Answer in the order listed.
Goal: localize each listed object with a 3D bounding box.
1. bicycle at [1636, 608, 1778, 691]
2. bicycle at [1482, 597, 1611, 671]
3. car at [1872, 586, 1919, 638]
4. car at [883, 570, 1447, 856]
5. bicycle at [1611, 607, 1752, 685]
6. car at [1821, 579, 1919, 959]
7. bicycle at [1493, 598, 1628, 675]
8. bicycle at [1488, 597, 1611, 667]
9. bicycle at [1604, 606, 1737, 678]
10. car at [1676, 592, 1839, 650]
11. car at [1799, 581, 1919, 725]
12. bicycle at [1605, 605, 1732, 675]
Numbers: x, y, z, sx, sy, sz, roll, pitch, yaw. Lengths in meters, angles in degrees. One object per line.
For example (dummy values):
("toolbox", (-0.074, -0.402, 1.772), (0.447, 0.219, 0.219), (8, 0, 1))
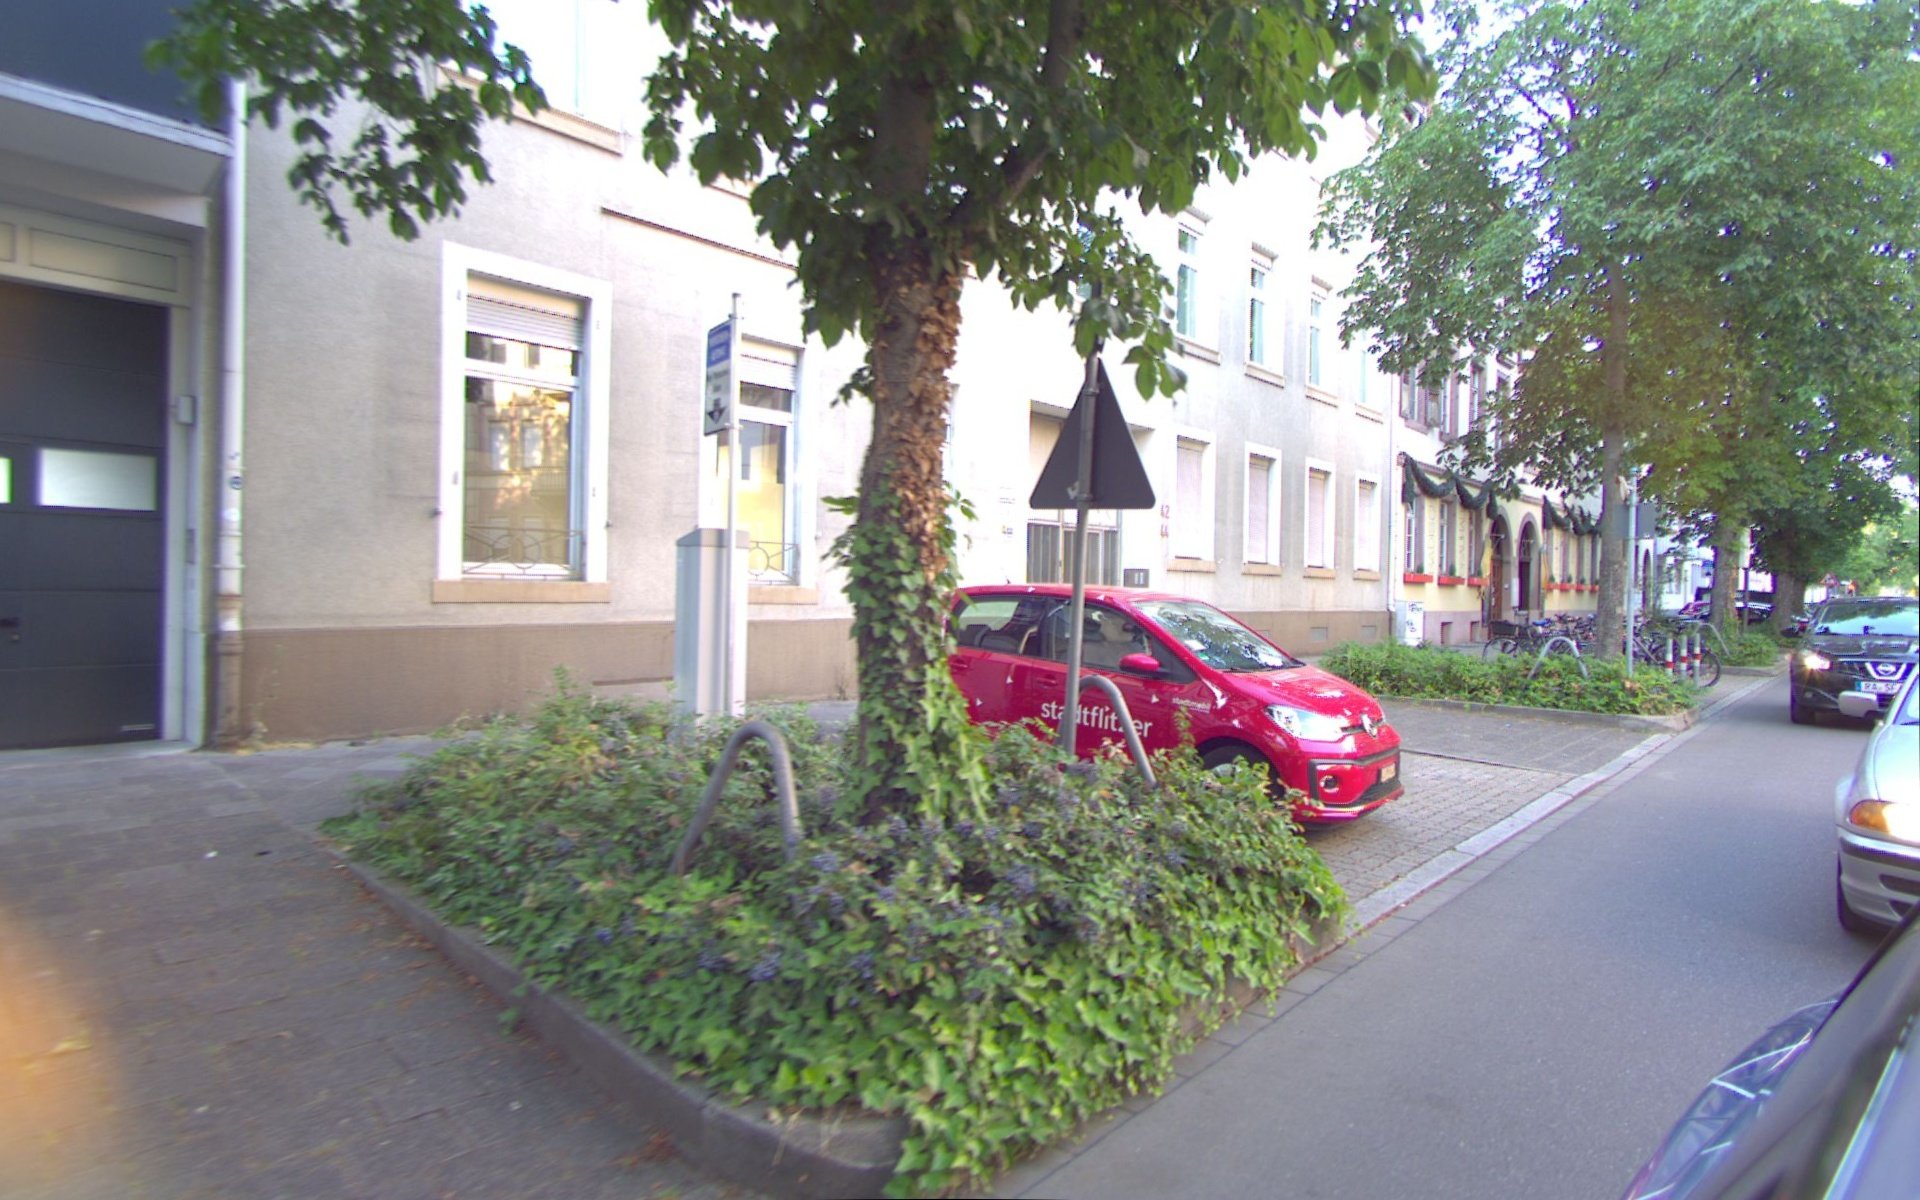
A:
("bicycle", (12.374, 0.791, 16.831), (1.835, 1.242, 0.529), (2, 1, 34))
("bicycle", (10.833, 0.605, 18.740), (2.015, 1.242, 0.529), (2, 1, 34))
("car", (30.347, 0.371, 32.253), (1.801, 1.571, 3.937), (2, 1, 43))
("car", (1.281, 0.559, 7.192), (3.609, 1.495, 1.639), (2, 1, 43))
("bicycle", (12.884, 0.790, 18.115), (2.019, 1.242, 0.528), (2, 1, 39))
("car", (5.713, 0.664, 4.877), (4.357, 1.460, 1.710), (0, 1, -41))
("bicycle", (10.612, 0.615, 17.931), (2.015, 1.242, 0.529), (2, 1, 34))
("bicycle", (11.470, 0.592, 19.730), (2.017, 1.242, 0.529), (2, 1, 37))
("bicycle", (13.527, 0.774, 19.304), (2.019, 1.242, 0.528), (2, 1, 39))
("car", (27.242, 0.668, 34.658), (4.232, 1.761, 1.715), (2, 1, 44))
("car", (11.877, 0.586, 12.619), (3.935, 1.571, 1.802), (0, 1, -45))
("bicycle", (14.012, 0.764, 20.055), (2.019, 1.242, 0.528), (2, 1, 39))
